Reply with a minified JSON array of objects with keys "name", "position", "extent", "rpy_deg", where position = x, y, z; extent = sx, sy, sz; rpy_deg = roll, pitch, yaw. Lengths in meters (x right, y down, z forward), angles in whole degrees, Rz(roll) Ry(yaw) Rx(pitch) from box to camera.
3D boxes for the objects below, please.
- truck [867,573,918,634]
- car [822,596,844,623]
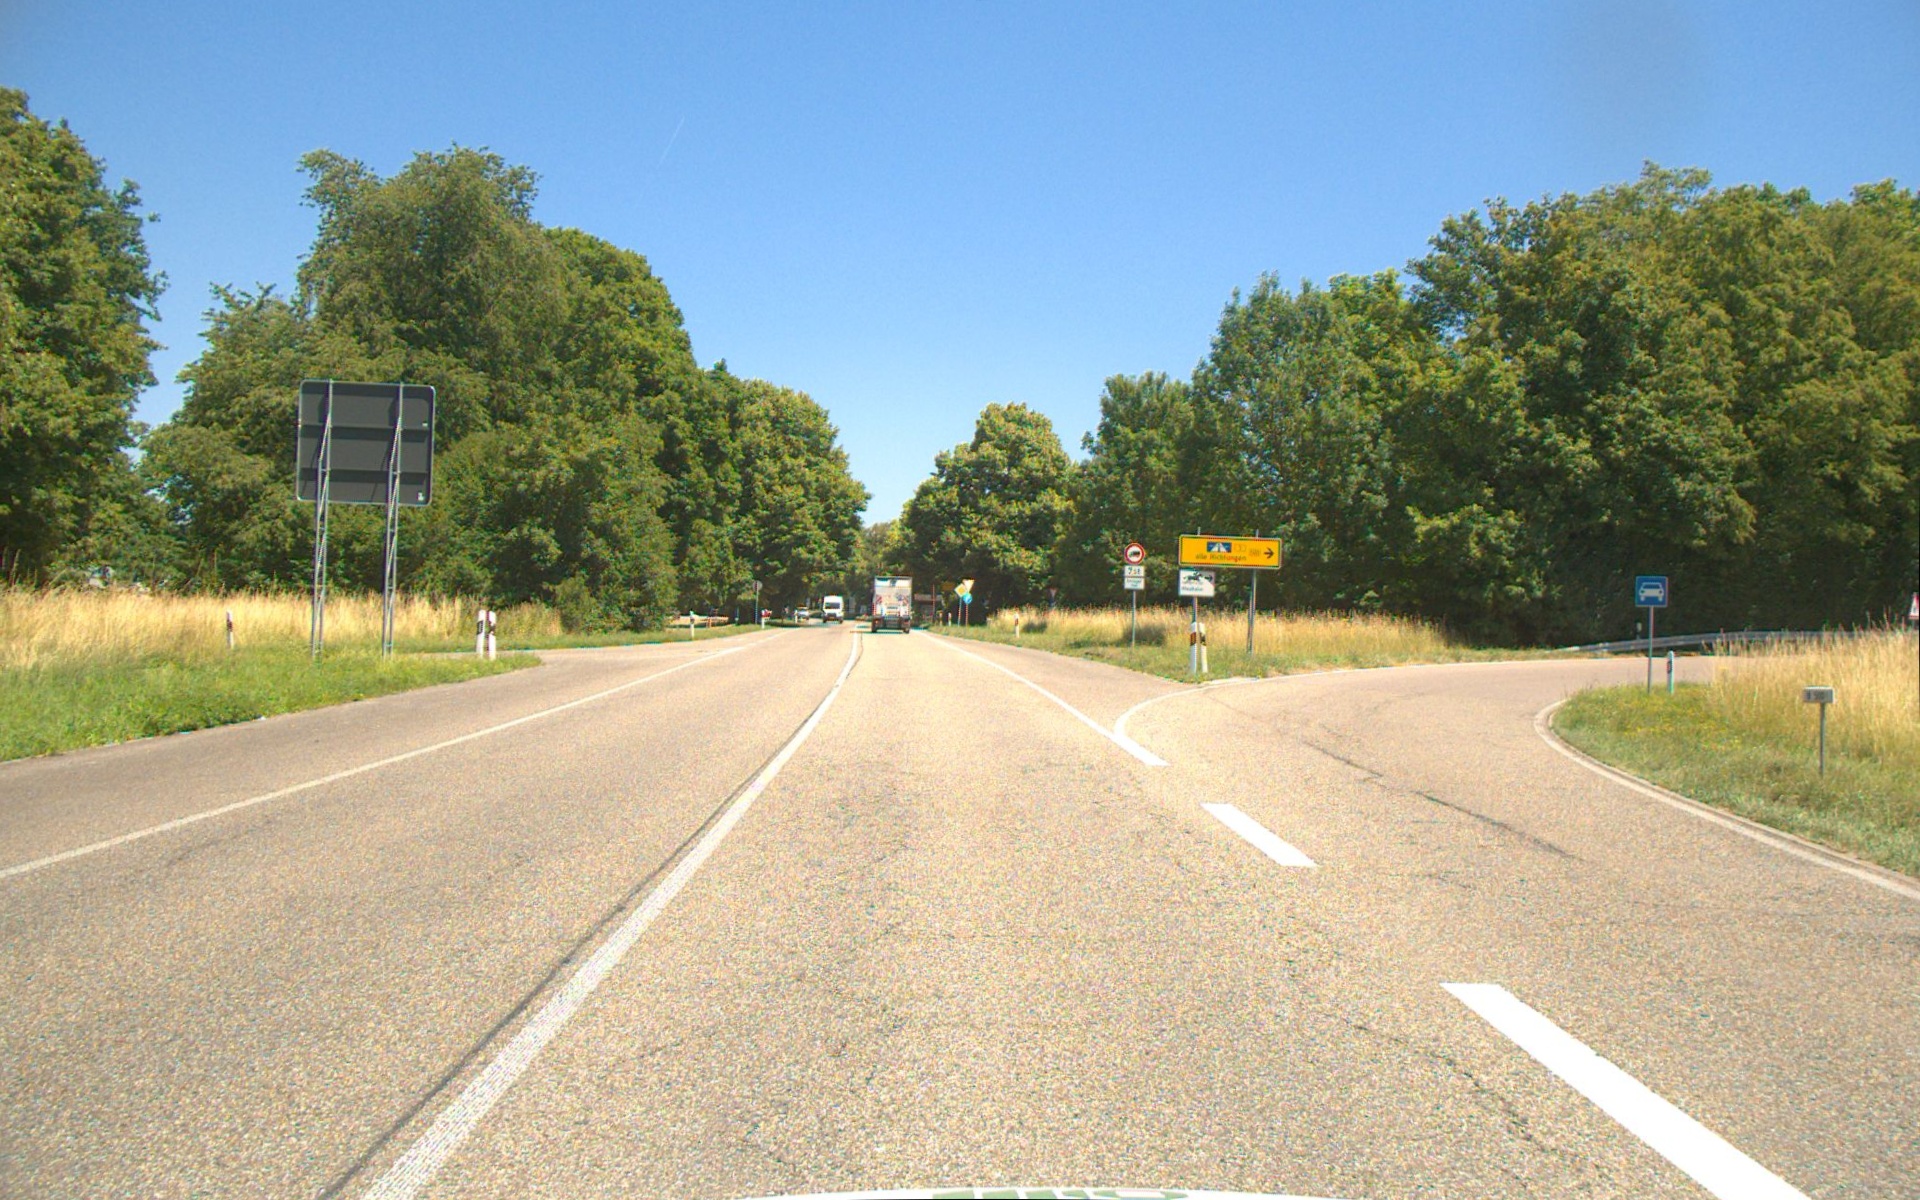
[{"name":"truck","position":[-3.659,0.155,90.117],"extent":[2.481,3.190,5.361],"rpy_deg":[1,0,0]},{"name":"car","position":[-13.099,1.007,170.944],"extent":[2.031,2.674,6.780],"rpy_deg":[1,-1,-2]}]
